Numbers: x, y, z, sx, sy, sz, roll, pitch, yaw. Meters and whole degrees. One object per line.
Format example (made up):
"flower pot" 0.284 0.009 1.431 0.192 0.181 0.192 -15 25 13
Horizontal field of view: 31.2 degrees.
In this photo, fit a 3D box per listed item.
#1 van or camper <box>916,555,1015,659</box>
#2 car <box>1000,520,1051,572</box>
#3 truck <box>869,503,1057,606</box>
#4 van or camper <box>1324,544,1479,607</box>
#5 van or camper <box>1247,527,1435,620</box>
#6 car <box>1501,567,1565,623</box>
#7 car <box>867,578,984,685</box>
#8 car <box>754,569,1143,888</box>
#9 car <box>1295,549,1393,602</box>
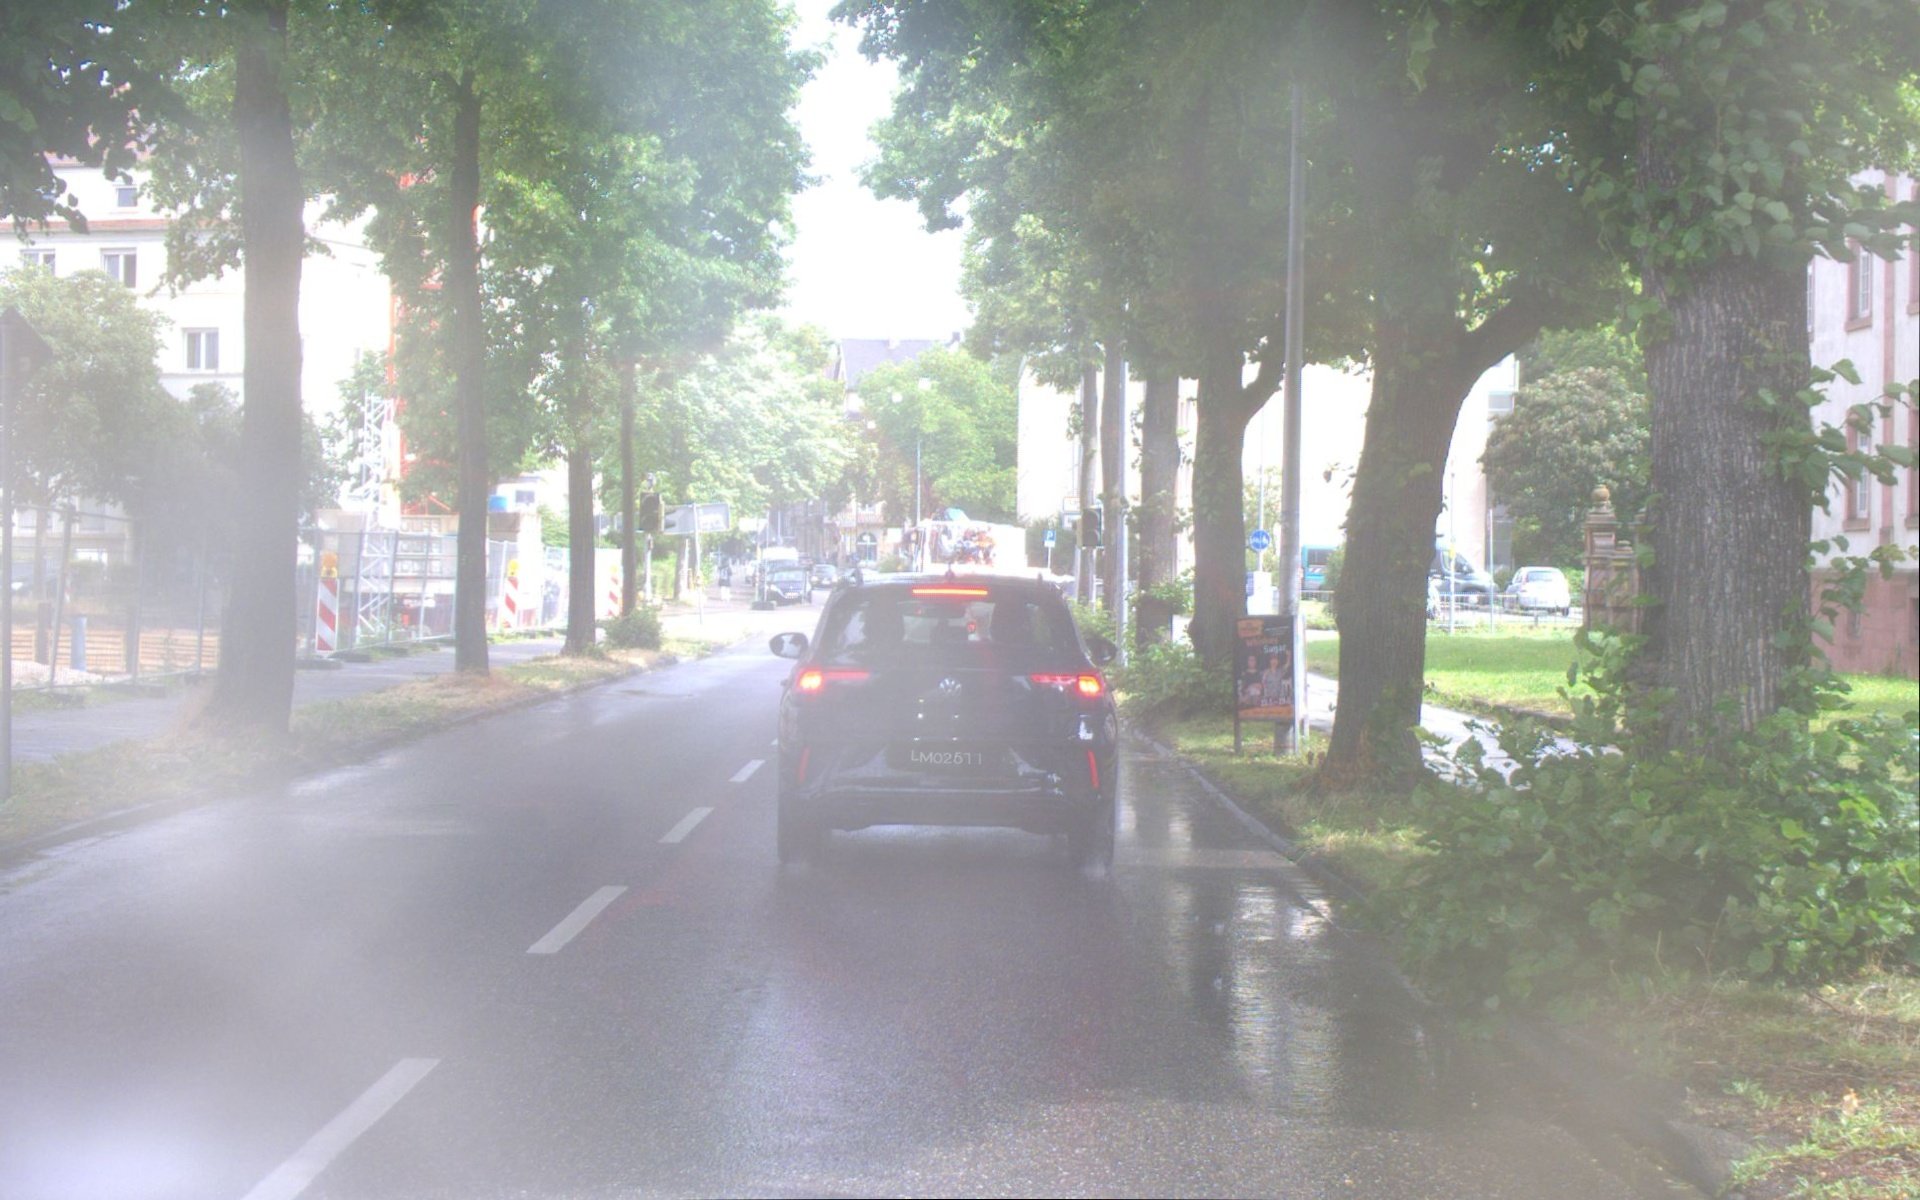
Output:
"van or camper" 0.143 0.112 68.688 1.819 1.941 4.195 2 1 2
"car" 2.707 -2.223 142.846 1.993 2.007 4.000 3 0 1
"truck" -0.015 -1.319 95.385 2.804 2.647 8.244 1 2 -17
"van or camper" 14.667 -0.833 114.450 4.875 1.919 2.131 2 1 1
"van or camper" 10.734 -0.751 97.130 5.032 2.587 2.168 0 0 -1
"car" 18.380 -0.174 110.350 1.743 1.678 3.869 -2 0 6
"car" -0.549 0.509 58.204 1.680 1.702 3.909 -1 0 3
"car" -0.052 0.622 19.095 1.895 1.517 4.000 1 1 0
"car" 13.923 -0.896 124.522 3.408 1.775 1.759 -2 0 9
